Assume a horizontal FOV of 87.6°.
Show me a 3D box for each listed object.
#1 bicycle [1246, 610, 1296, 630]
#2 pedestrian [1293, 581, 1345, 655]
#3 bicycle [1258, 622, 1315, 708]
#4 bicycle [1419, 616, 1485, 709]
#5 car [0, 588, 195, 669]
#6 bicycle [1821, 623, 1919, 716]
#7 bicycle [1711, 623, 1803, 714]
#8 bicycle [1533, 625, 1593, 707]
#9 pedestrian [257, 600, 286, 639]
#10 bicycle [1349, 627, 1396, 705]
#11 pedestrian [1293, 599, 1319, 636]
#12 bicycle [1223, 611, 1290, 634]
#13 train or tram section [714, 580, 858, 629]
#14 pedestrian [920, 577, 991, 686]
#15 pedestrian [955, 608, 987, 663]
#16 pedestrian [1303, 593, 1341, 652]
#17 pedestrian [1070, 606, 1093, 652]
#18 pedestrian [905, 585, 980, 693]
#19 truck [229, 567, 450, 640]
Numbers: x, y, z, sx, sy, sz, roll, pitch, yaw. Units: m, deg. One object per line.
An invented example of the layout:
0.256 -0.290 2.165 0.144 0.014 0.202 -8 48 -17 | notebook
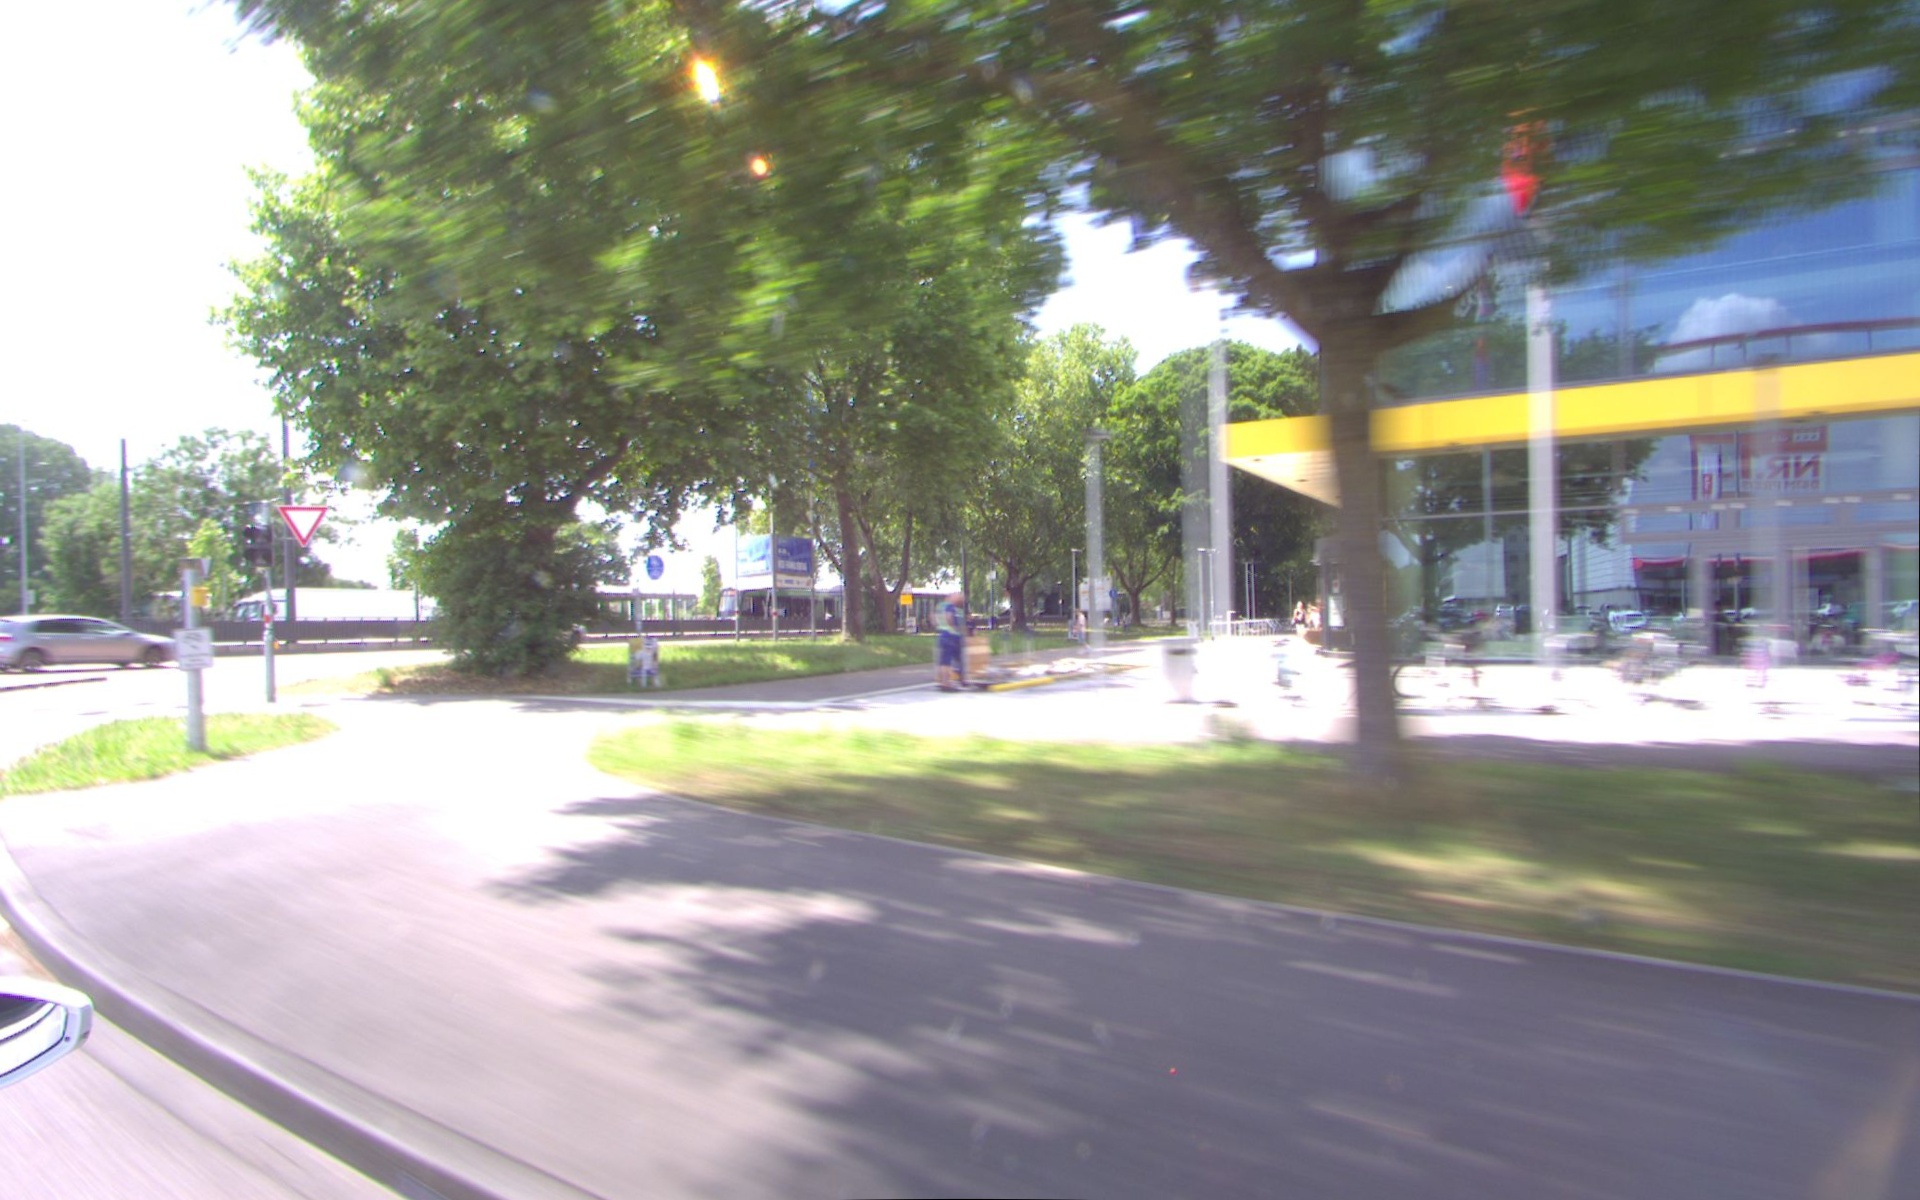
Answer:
18.174 1.179 58.508 0.886 1.136 2.757 -1 -1 -38 | bicycle
9.477 0.462 26.434 0.873 1.911 0.971 0 1 -22 | pedestrian
4.808 0.924 14.847 0.495 1.122 1.924 -2 0 10 | bicycle
6.783 0.825 13.860 0.453 1.173 1.680 0 1 14 | bicycle
-23.715 0.709 27.116 1.969 2.015 4.346 -1 0 27 | car
11.149 0.809 12.222 0.417 1.008 1.862 -1 0 23 | bicycle
10.120 0.836 12.769 0.417 1.008 1.862 -2 1 23 | bicycle
8.207 0.862 13.677 0.457 1.008 1.862 0 0 24 | bicycle
-32.833 0.924 47.770 0.724 1.831 0.926 0 0 27 | pedestrian
6.065 0.928 14.678 0.417 1.008 1.859 0 1 29 | bicycle
15.975 0.818 46.211 0.871 1.686 0.784 0 1 -13 | pedestrian
16.843 1.303 56.975 0.975 1.191 3.810 -1 -1 -38 | bicycle
-12.332 0.435 73.422 2.997 3.227 14.059 -1 -1 24 | train or tram section
-0.080 0.624 19.991 0.963 2.099 1.002 -2 0 43 | pedestrian
0.348 1.121 31.499 0.710 1.685 0.590 -4 0 32 | pedestrian
10.568 0.660 29.223 0.789 1.685 0.703 -2 0 -2 | pedestrian
4.471 1.066 36.838 0.584 1.686 0.716 0 1 32 | pedestrian
-0.321 0.699 18.555 0.963 1.927 1.002 -1 0 42 | pedestrian
-38.540 0.287 63.022 2.907 4.158 11.946 0 0 29 | truck
